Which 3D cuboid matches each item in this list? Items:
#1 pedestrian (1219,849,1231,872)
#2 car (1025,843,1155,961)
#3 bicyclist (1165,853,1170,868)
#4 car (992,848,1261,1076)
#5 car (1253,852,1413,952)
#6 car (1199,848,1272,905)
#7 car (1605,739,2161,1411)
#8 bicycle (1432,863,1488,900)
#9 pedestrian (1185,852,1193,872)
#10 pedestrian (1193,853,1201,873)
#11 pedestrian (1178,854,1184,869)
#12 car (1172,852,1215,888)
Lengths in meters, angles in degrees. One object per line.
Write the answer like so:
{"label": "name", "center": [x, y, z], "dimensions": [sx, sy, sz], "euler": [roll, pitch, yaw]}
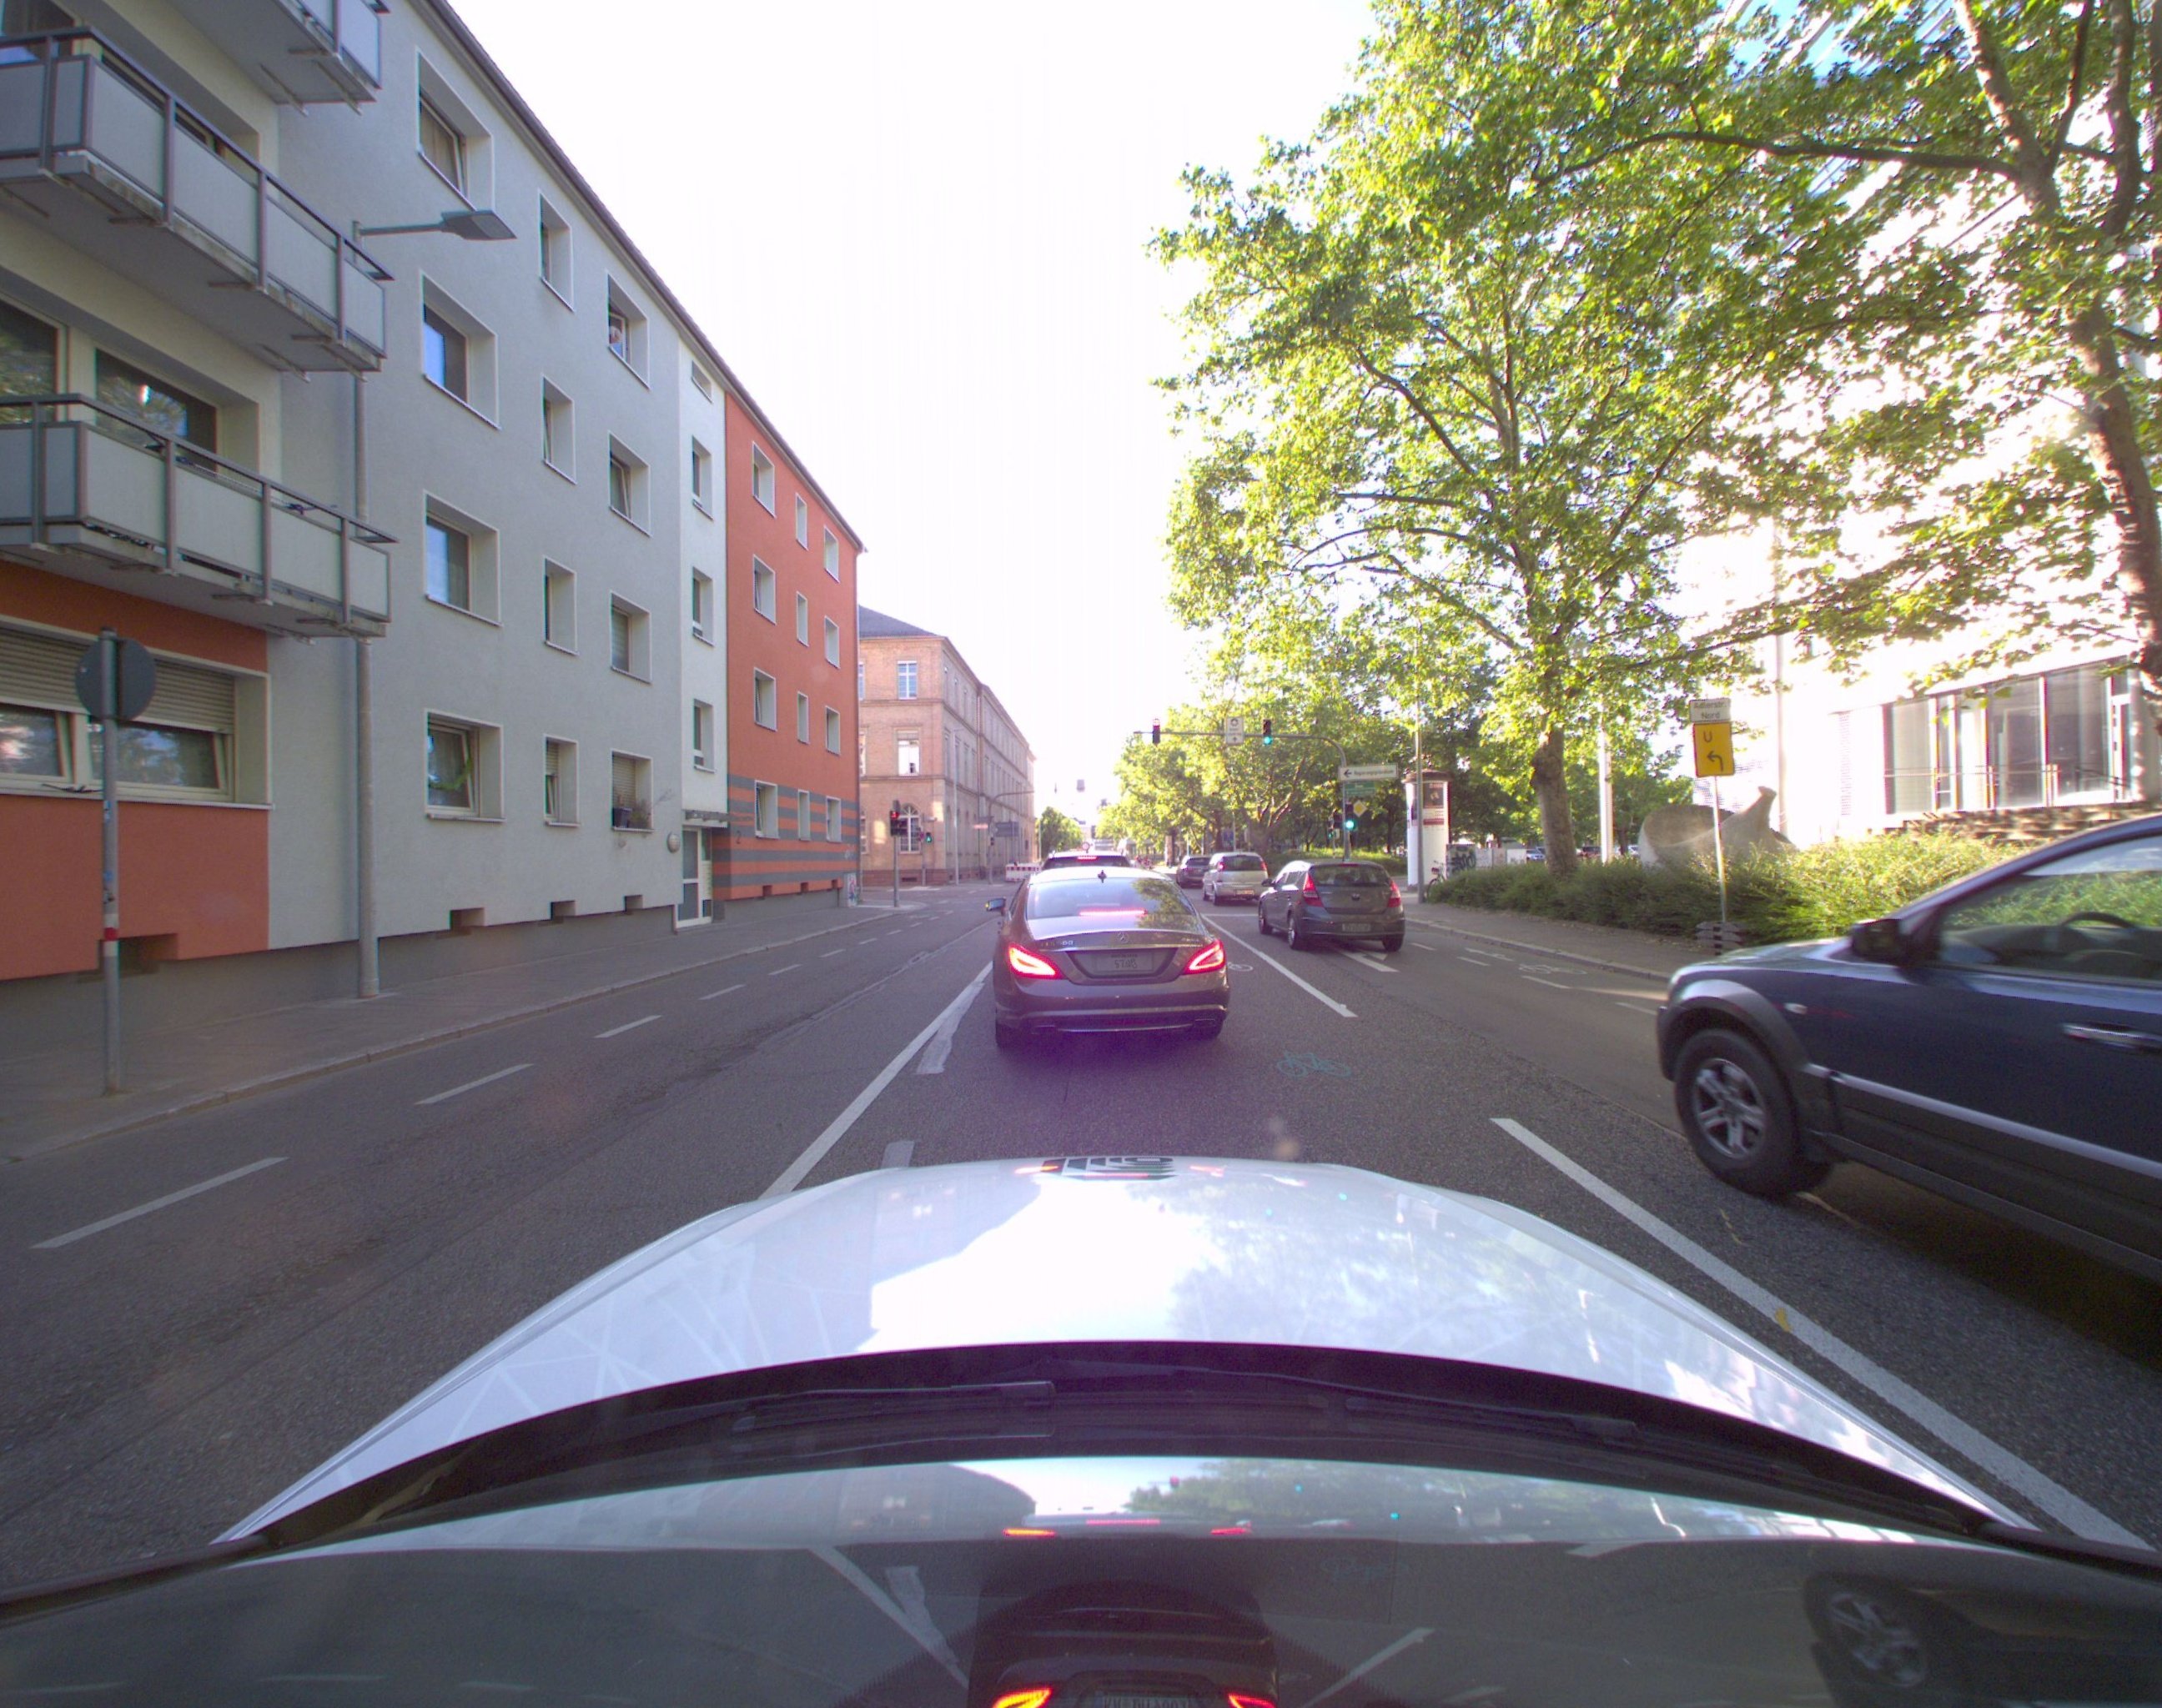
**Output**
{"label": "pedestrian", "center": [9.940, 0.468, 56.166], "dimensions": [0.634, 1.545, 0.909], "euler": [0, -1, -3]}
{"label": "car", "center": [0.193, 0.694, 13.730], "dimensions": [1.854, 1.682, 4.002], "euler": [-1, 0, 2]}
{"label": "bicyclist", "center": [11.180, 0.840, 104.917], "dimensions": [0.593, 2.039, 0.566], "euler": [0, -1, -3]}
{"label": "car", "center": [0.145, 0.736, 7.595], "dimensions": [1.859, 1.519, 3.992], "euler": [-1, 0, -6]}
{"label": "car", "center": [4.282, 0.740, 14.470], "dimensions": [1.698, 1.519, 4.002], "euler": [-1, 0, 2]}
{"label": "car", "center": [4.813, 0.664, 25.773], "dimensions": [1.725, 1.662, 3.682], "euler": [0, -1, 2]}
{"label": "car", "center": [3.761, 0.571, 2.239], "dimensions": [1.854, 1.764, 4.483], "euler": [-1, 0, 2]}
{"label": "bicycle", "center": [10.985, 0.775, 23.570], "dimensions": [1.895, 1.028, 0.635], "euler": [0, -1, -36]}
{"label": "pedestrian", "center": [9.801, 0.764, 73.909], "dimensions": [0.634, 1.797, 0.698], "euler": [0, -1, -2]}
{"label": "pedestrian", "center": [10.516, 0.811, 73.899], "dimensions": [0.634, 1.760, 0.698], "euler": [0, -1, -2]}
{"label": "pedestrian", "center": [10.361, 0.808, 84.015], "dimensions": [0.554, 1.509, 0.345], "euler": [0, -1, -3]}
{"label": "car", "center": [5.071, 0.725, 37.068], "dimensions": [1.595, 1.549, 3.682], "euler": [0, -1, 2]}
